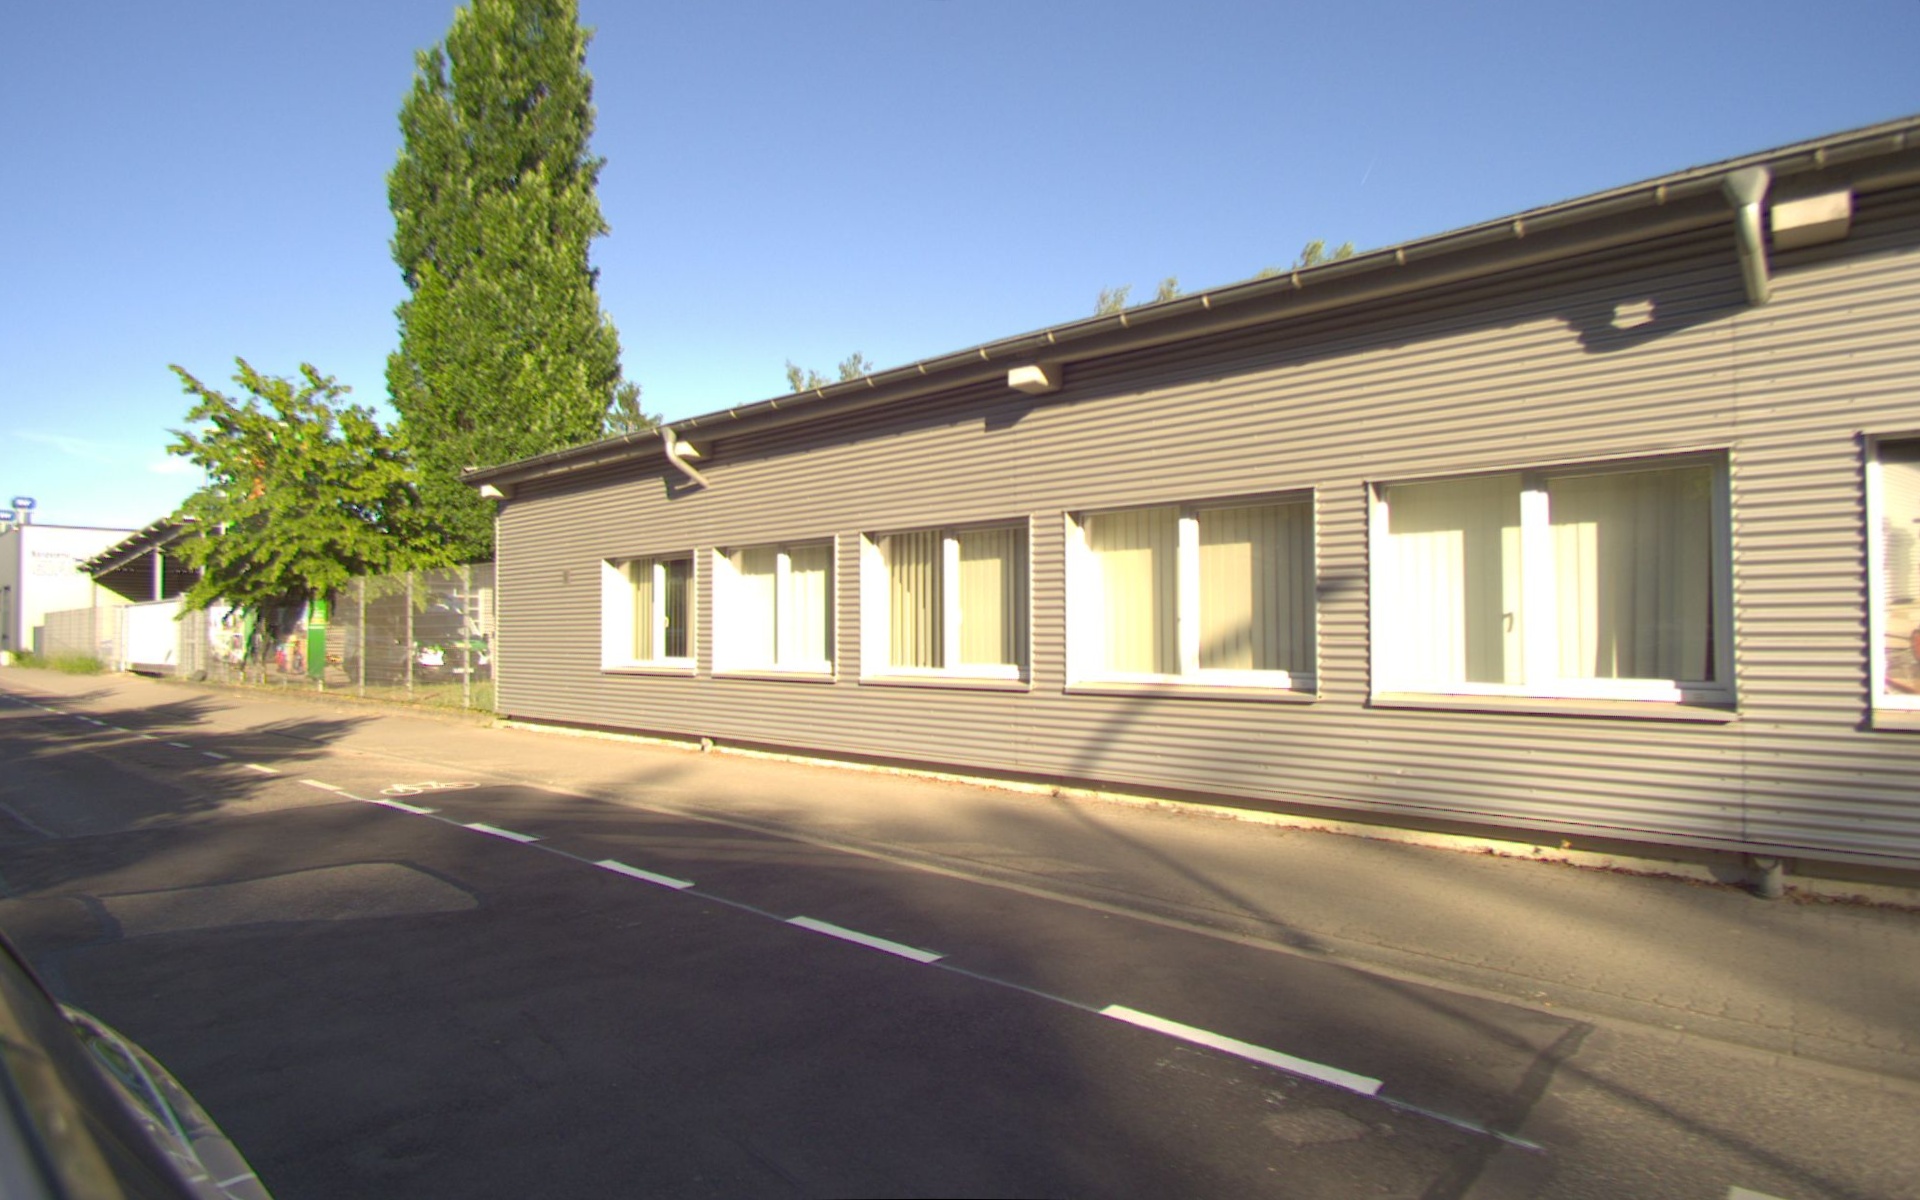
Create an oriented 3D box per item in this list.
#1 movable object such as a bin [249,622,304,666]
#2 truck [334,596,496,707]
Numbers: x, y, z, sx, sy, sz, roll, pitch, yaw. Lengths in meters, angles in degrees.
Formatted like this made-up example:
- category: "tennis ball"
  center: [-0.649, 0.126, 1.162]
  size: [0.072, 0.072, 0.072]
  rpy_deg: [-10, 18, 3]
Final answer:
- category: "movable object such as a bin"
  center: [-33.431, 2.162, 49.501]
  size: [2.475, 2.108, 1.560]
  rpy_deg: [-3, -3, 39]
- category: "truck"
  center: [-15.250, 1.426, 28.172]
  size: [5.761, 2.783, 2.057]
  rpy_deg: [-3, -3, 41]
